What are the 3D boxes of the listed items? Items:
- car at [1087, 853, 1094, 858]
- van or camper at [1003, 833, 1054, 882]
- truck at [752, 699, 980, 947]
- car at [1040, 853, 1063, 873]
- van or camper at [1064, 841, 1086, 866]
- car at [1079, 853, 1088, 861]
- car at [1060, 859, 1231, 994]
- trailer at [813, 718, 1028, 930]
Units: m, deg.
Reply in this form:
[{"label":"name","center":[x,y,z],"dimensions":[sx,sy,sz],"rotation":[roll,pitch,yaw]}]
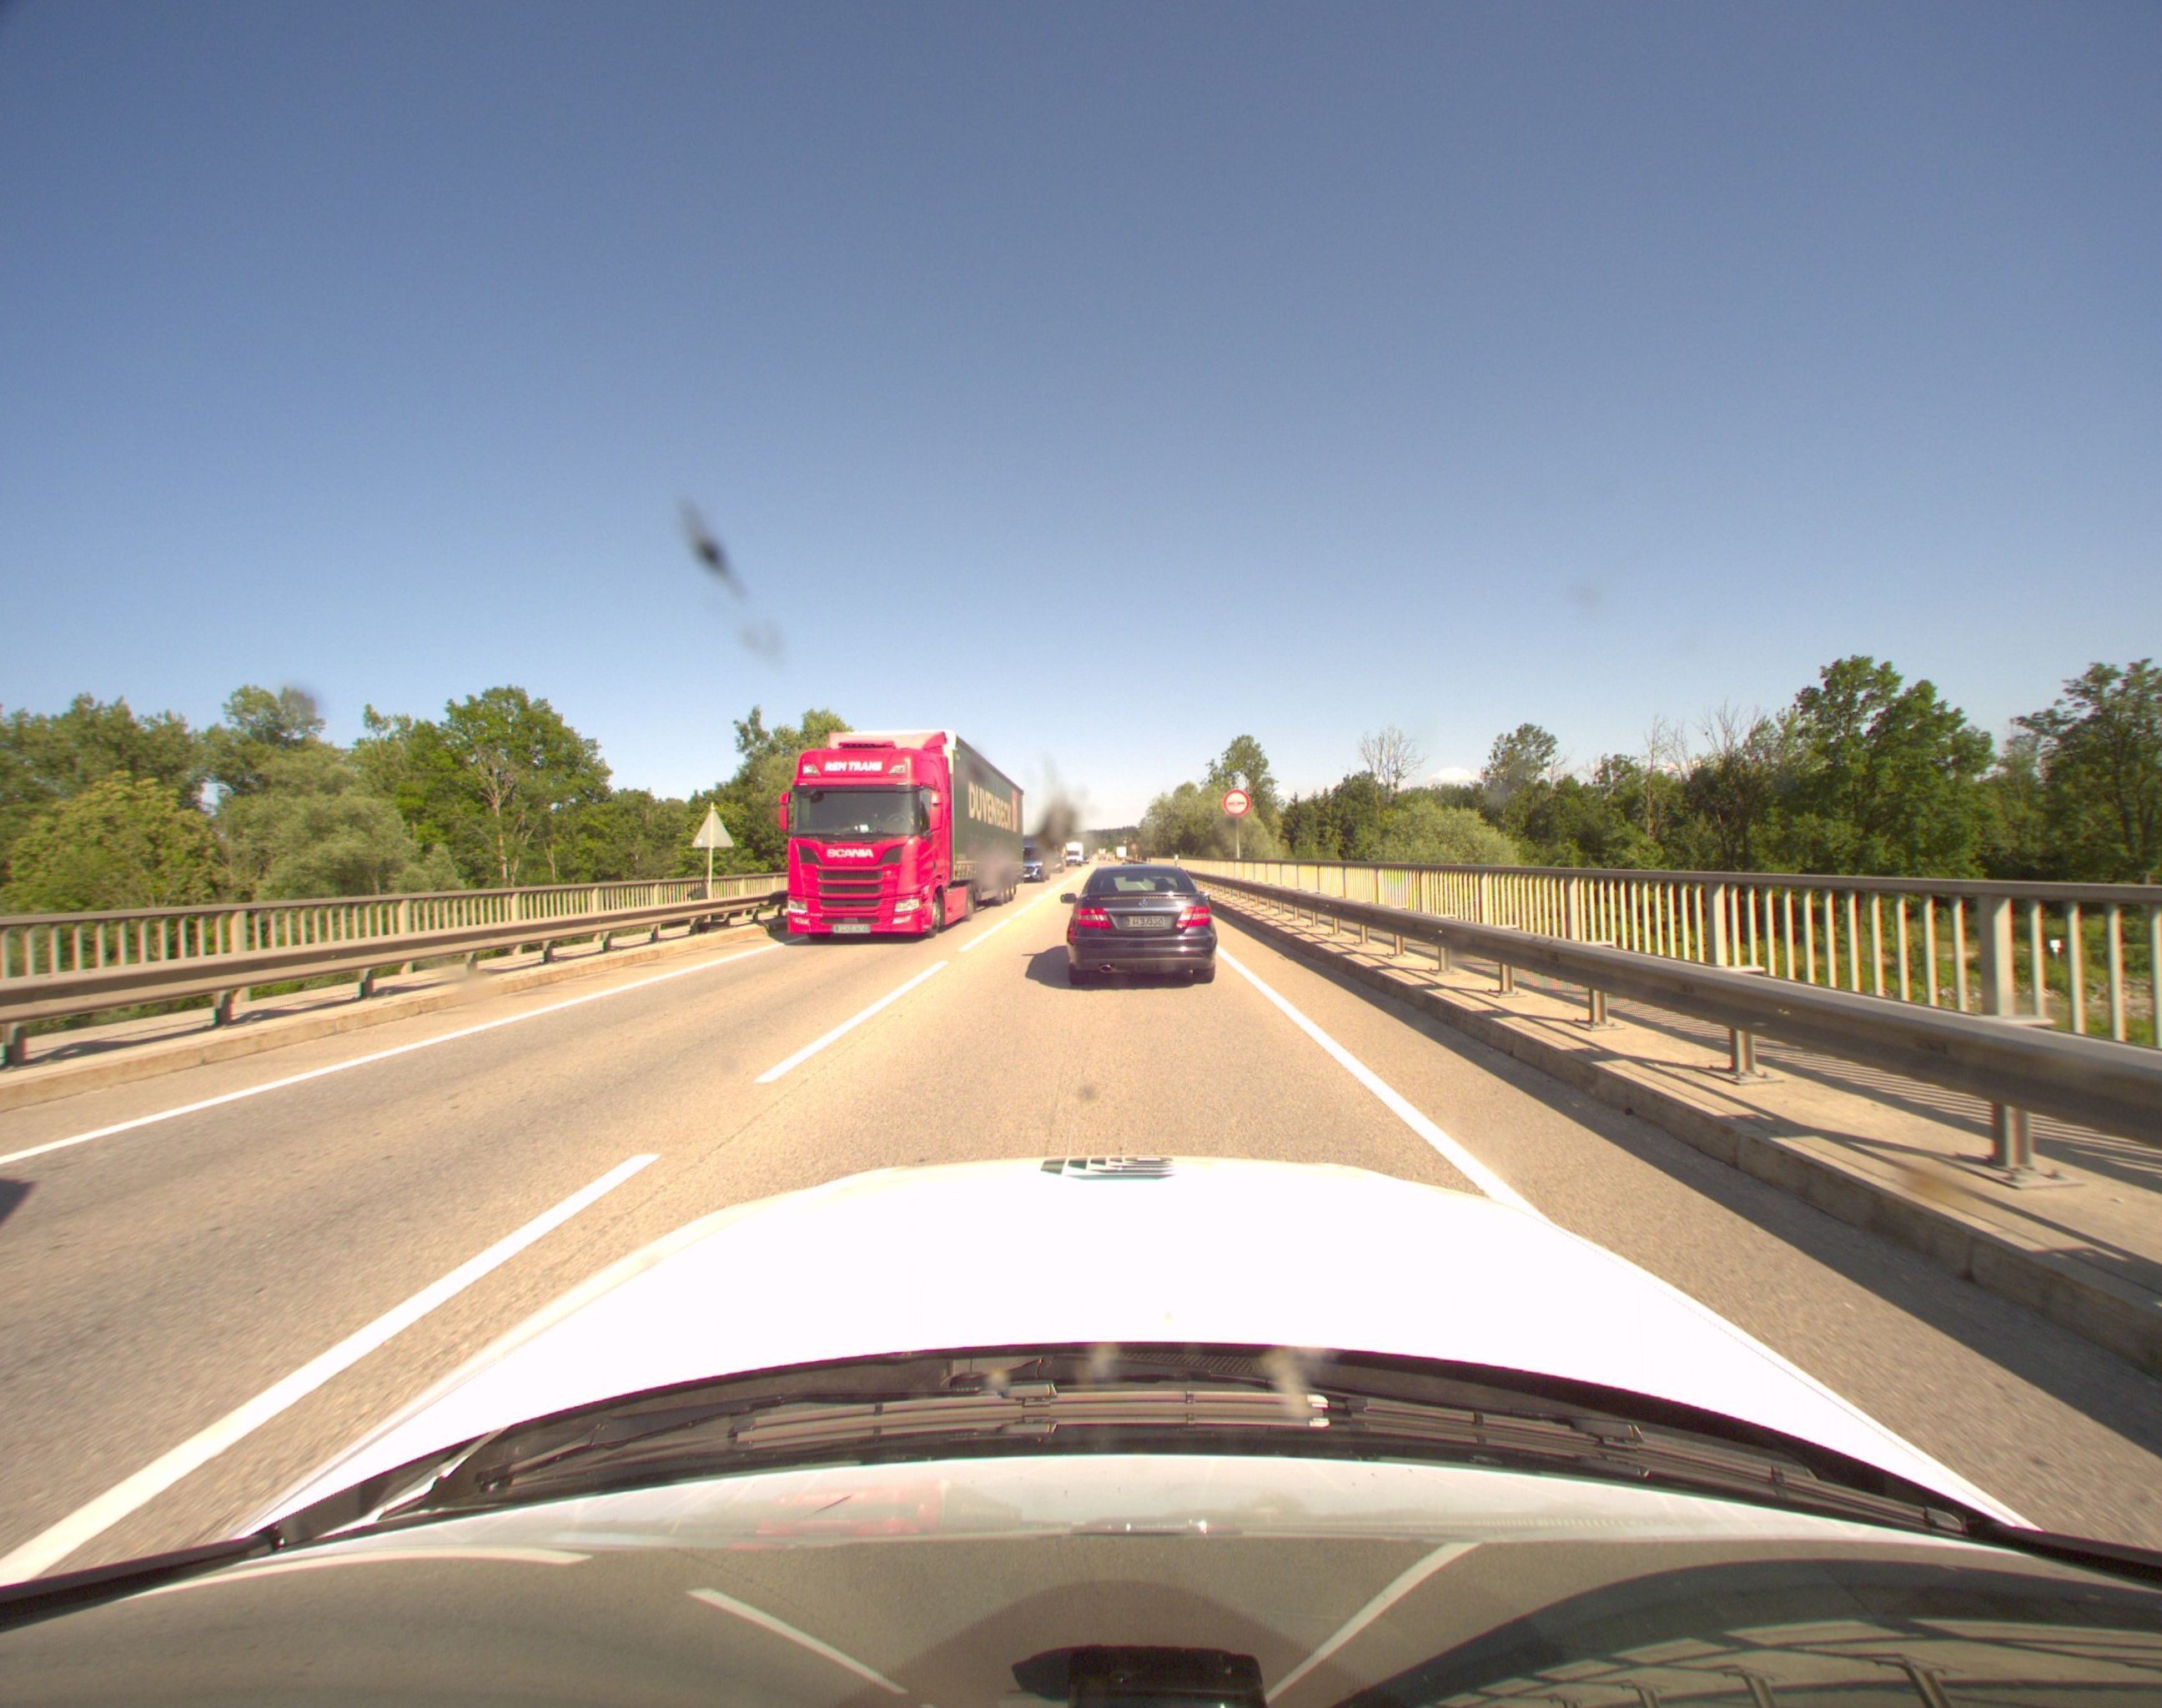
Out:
[{"label":"car","center":[2.937,0.463,258.863],"dimensions":[1.795,1.606,3.921],"rotation":[-1,0,5]},{"label":"van or camper","center":[-3.020,0.202,48.195],"dimensions":[2.421,2.642,6.406],"rotation":[-1,0,1]},{"label":"truck","center":[-4.044,-0.530,16.820],"dimensions":[2.896,4.184,5.716],"rotation":[-1,0,2]},{"label":"car","center":[-2.570,0.786,71.339],"dimensions":[1.835,1.642,4.576],"rotation":[-1,0,0]},{"label":"van or camper","center":[-0.713,-0.122,111.493],"dimensions":[2.625,3.256,7.753],"rotation":[-1,0,2]},{"label":"car","center":[0.459,0.631,151.847],"dimensions":[1.654,1.436,4.187],"rotation":[-1,0,-1]},{"label":"car","center":[0.782,0.782,10.627],"dimensions":[1.786,1.376,4.003],"rotation":[-1,0,3]},{"label":"trailer","center":[-3.768,-0.615,23.844],"dimensions":[2.896,4.302,14.308],"rotation":[-1,0,2]}]
